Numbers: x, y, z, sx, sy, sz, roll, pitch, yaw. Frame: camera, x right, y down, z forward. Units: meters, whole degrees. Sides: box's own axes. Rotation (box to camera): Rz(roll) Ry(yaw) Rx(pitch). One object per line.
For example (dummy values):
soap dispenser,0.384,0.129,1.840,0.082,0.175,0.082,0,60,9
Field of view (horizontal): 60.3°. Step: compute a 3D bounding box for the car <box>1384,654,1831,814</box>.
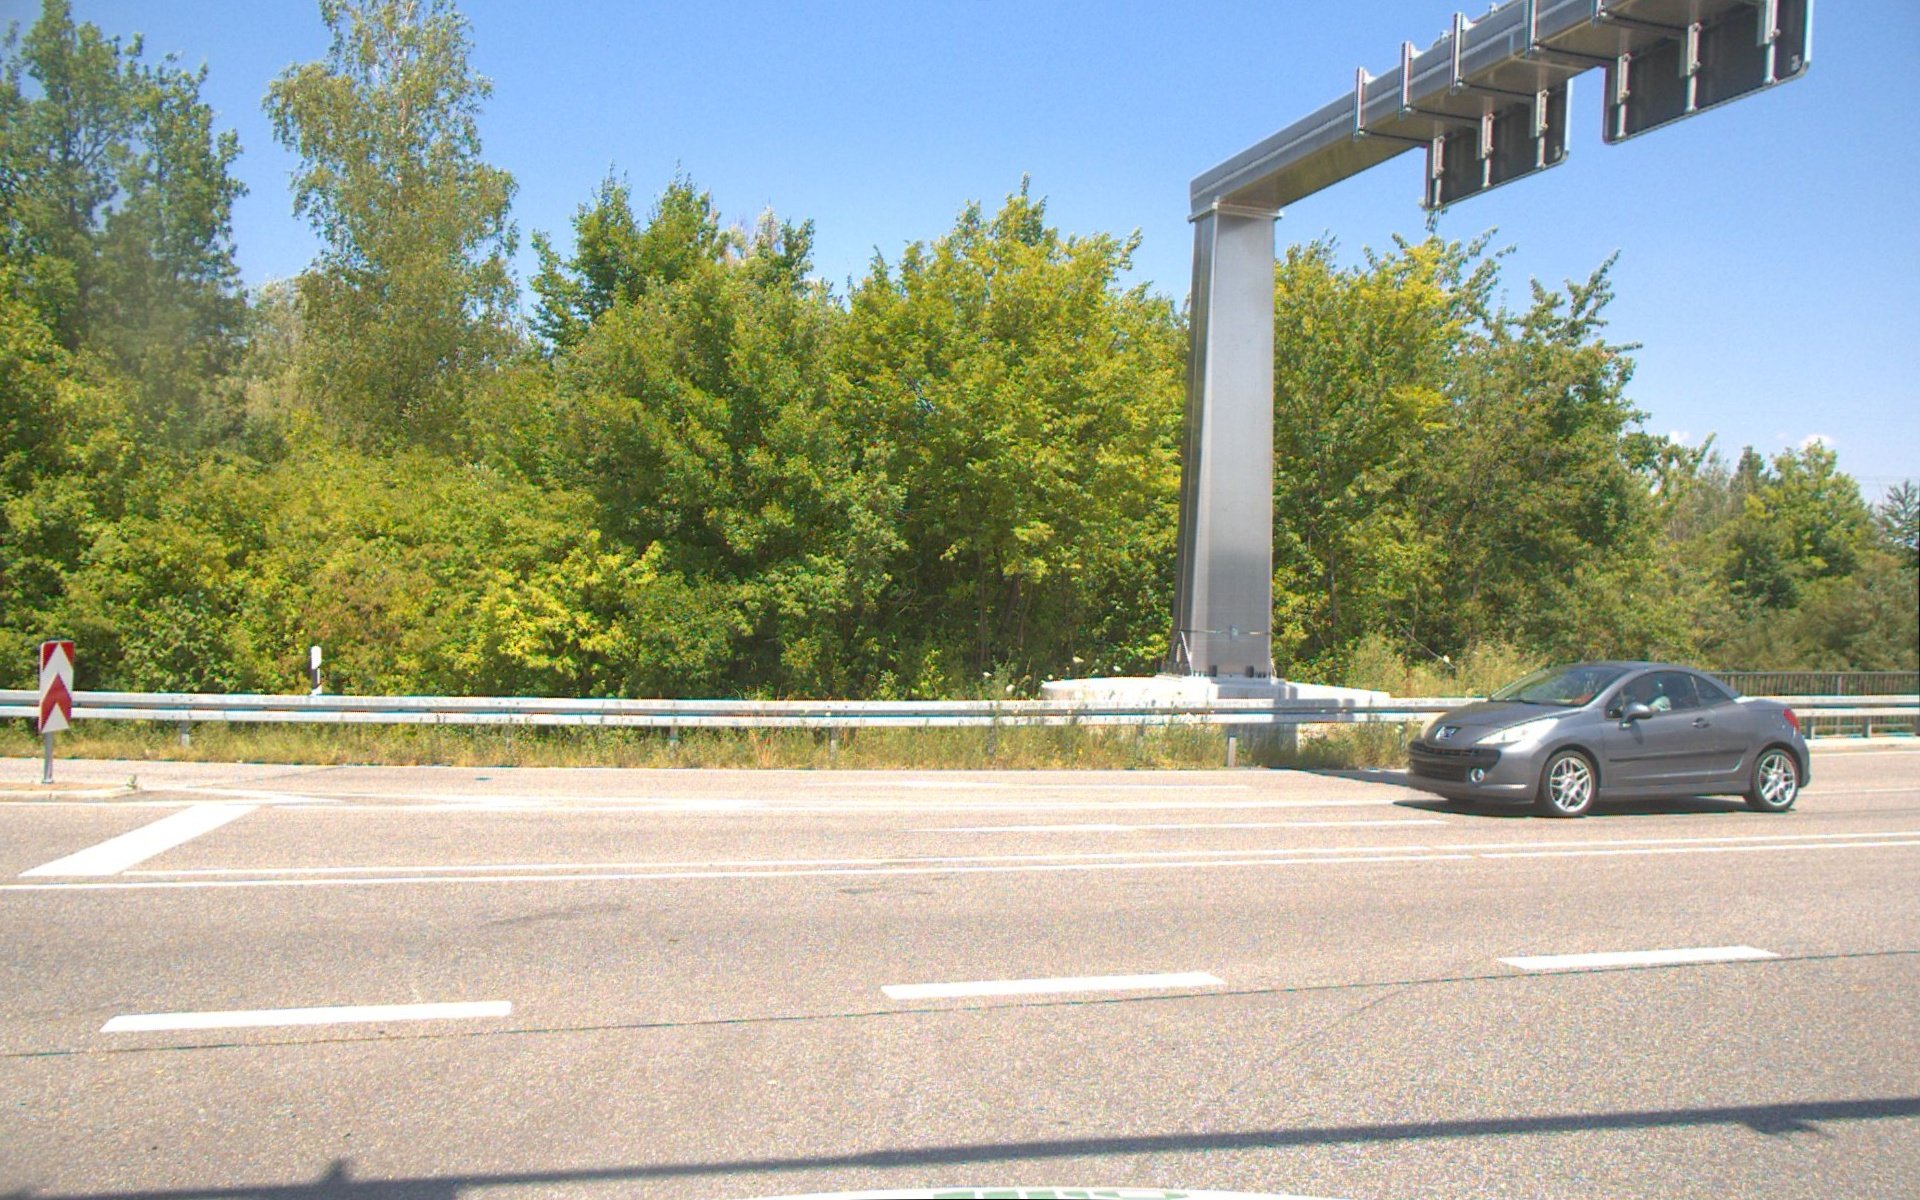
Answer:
car,6.165,1.242,15.783,3.898,1.376,1.640,2,-3,-21
